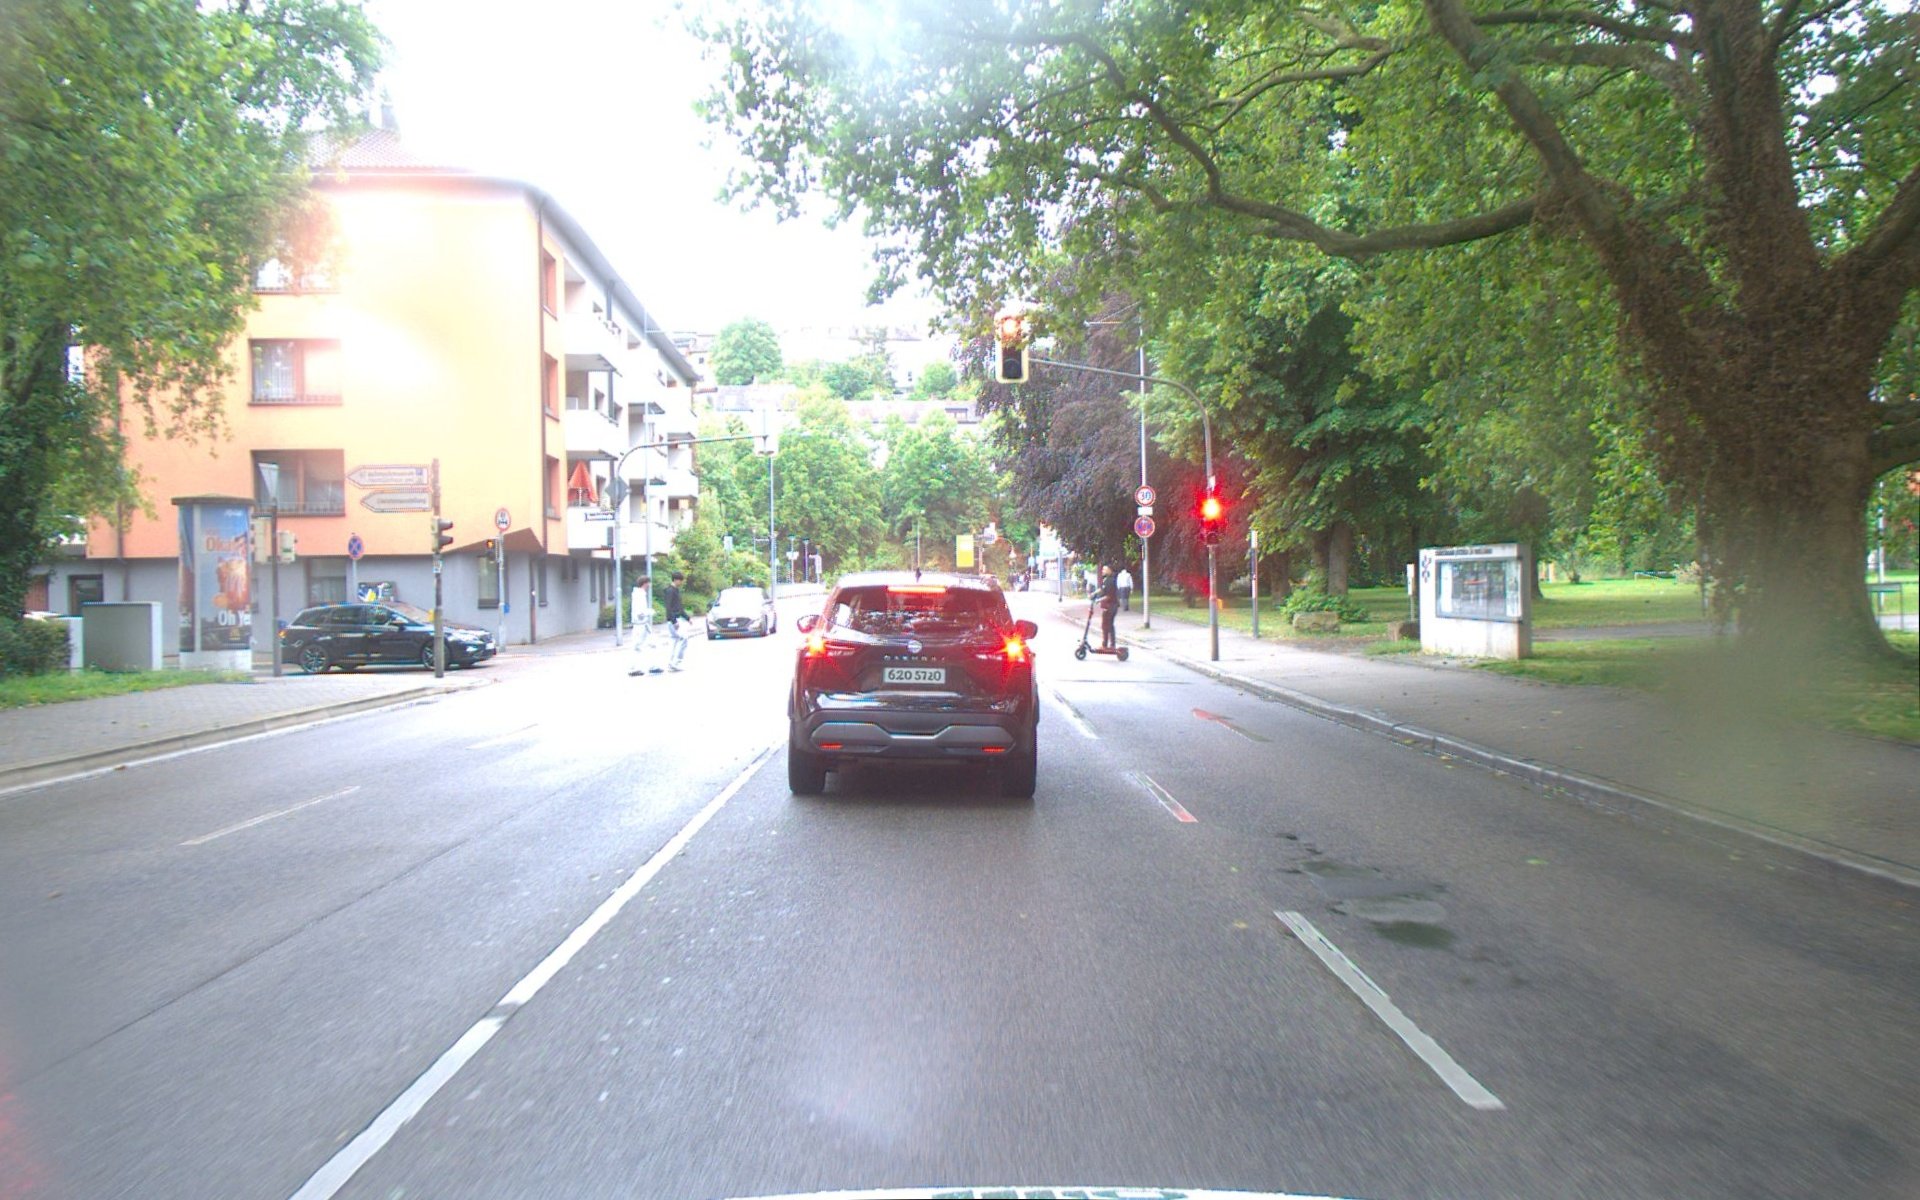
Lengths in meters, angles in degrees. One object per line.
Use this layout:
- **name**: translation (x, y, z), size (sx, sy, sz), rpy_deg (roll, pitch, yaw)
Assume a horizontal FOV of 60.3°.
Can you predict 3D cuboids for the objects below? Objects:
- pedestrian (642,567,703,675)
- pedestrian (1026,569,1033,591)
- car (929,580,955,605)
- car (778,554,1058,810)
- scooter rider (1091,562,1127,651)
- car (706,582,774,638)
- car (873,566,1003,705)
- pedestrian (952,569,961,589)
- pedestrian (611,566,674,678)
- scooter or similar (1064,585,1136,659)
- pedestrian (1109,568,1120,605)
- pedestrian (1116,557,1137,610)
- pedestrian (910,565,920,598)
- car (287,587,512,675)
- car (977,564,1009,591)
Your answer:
- **pedestrian**: translation (-5.275, 0.372, 30.301), size (1.017, 1.908, 0.656), rpy_deg (-2, 1, -12)
- **pedestrian**: translation (5.906, -1.727, 140.647), size (0.498, 1.833, 0.619), rpy_deg (-2, 0, -1)
- **car**: translation (-1.157, -0.526, 107.765), size (1.601, 1.559, 3.967), rpy_deg (-2, 1, -1)
- **car**: translation (-0.306, 0.533, 13.163), size (1.874, 1.709, 4.000), rpy_deg (1, 1, -1)
- **scooter rider**: translation (3.044, 0.138, 33.708), size (0.629, 1.797, 0.736), rpy_deg (-1, -1, 11)
- **car**: translation (-6.621, 0.275, 50.158), size (1.760, 1.560, 3.864), rpy_deg (-2, 1, -4)
- **car**: translation (-0.319, 0.447, 23.625), size (1.664, 1.776, 3.640), rpy_deg (-2, 1, -1)
- **pedestrian**: translation (-0.272, -1.816, 144.420), size (0.498, 1.702, 0.658), rpy_deg (-1, 0, 27)
- **pedestrian**: translation (-5.628, 0.381, 29.355), size (1.017, 1.908, 0.656), rpy_deg (-2, 1, -12)
- **scooter or similar**: translation (2.857, 0.454, 33.721), size (1.364, 1.471, 0.818), rpy_deg (-1, -1, 11)
- **pedestrian**: translation (6.556, -0.563, 70.043), size (0.382, 1.528, 0.559), rpy_deg (-2, 0, -1)
- **pedestrian**: translation (6.652, -0.660, 66.082), size (0.710, 2.049, 0.851), rpy_deg (-2, 0, -1)
- **pedestrian**: translation (-2.486, -1.029, 91.753), size (0.498, 1.833, 0.619), rpy_deg (-2, 0, -5)
- **car**: translation (-11.756, 0.636, 34.869), size (4.039, 1.654, 1.852), rpy_deg (-2, 1, 1)
- **car**: translation (2.237, -1.508, 111.322), size (1.952, 1.765, 4.002), rpy_deg (1, 0, 4)
